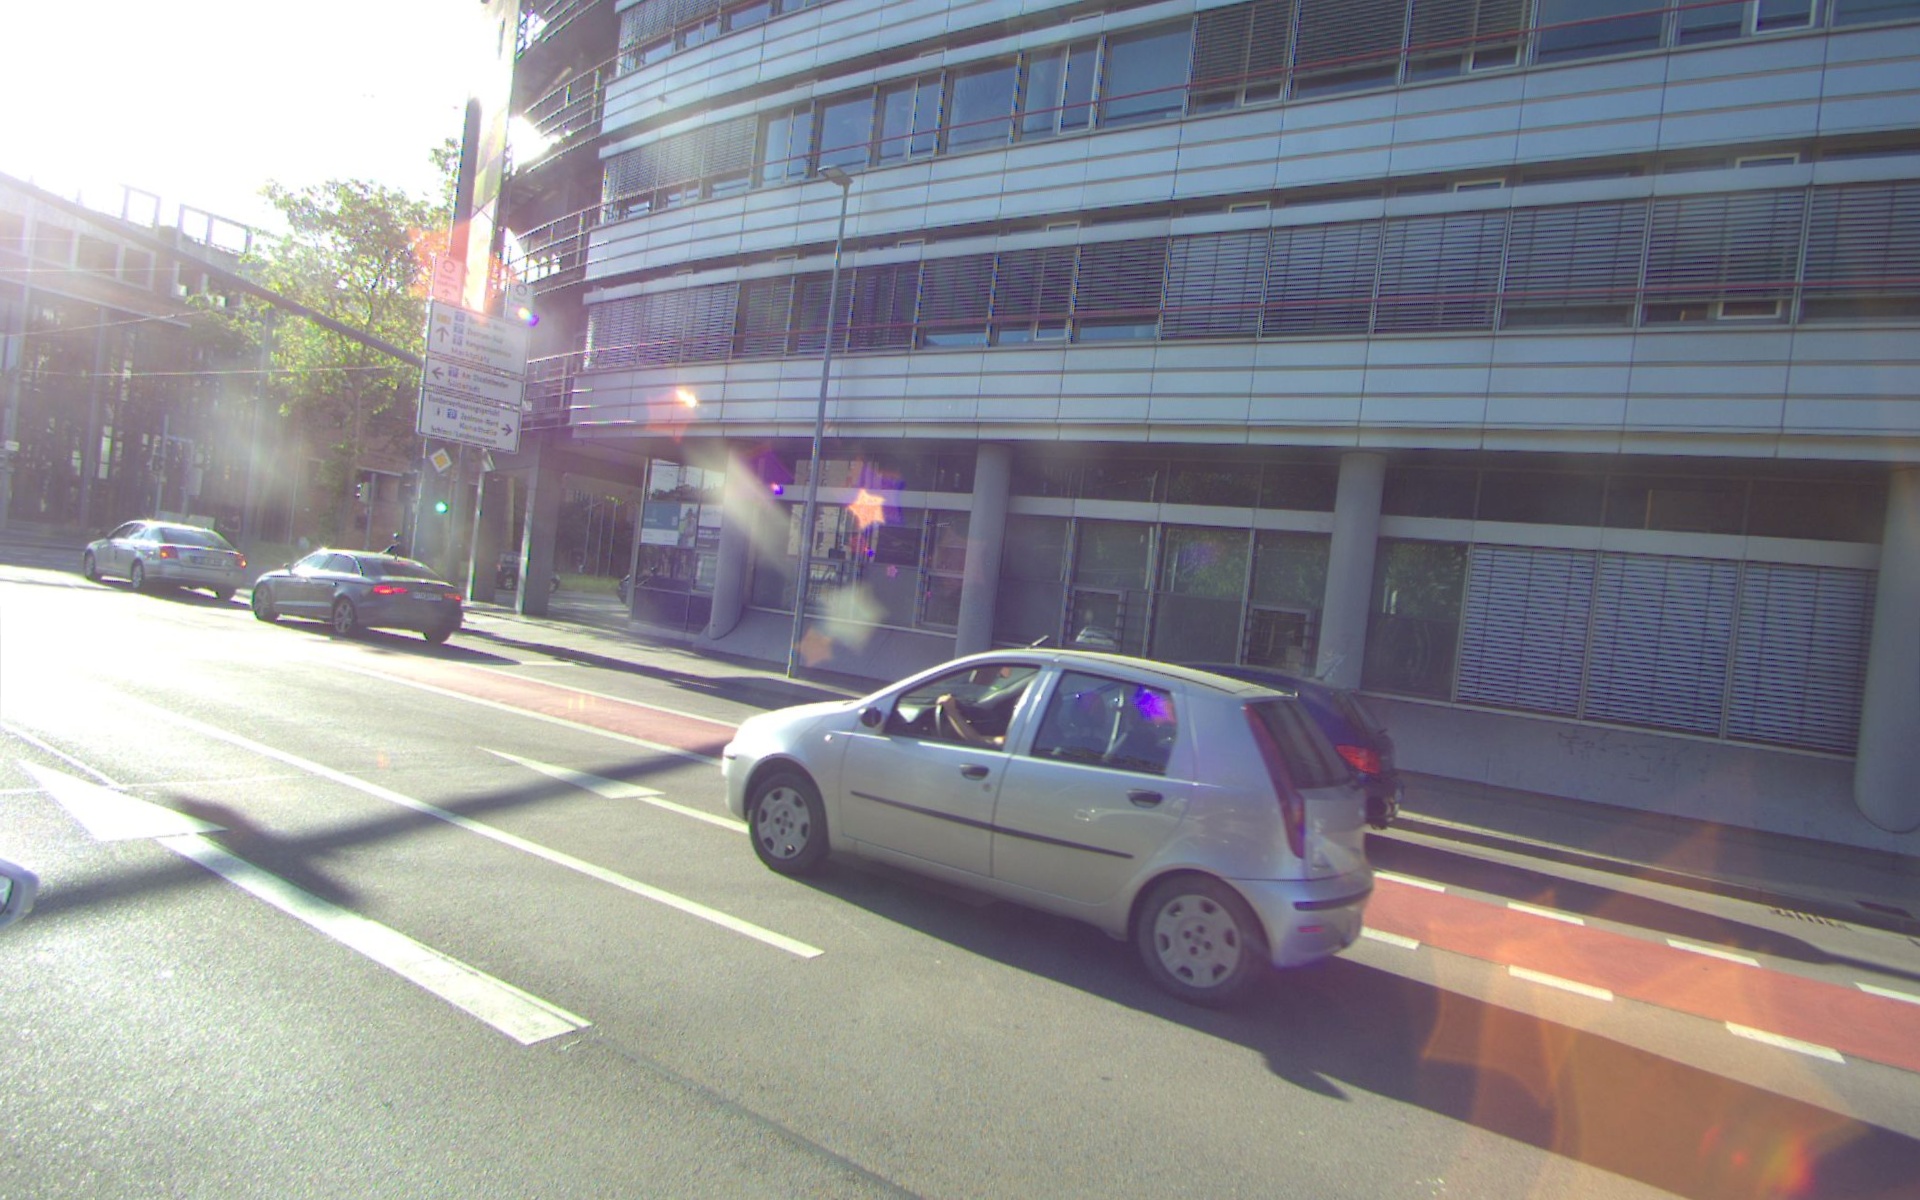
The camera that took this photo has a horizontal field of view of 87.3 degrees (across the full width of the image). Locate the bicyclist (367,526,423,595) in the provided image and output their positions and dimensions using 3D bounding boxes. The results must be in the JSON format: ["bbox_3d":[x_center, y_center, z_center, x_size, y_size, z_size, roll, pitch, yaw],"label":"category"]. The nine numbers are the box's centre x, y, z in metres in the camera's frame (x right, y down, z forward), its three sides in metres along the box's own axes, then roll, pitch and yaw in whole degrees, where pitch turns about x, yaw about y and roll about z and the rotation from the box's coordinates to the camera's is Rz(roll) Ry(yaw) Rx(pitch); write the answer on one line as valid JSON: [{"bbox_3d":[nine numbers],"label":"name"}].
[{"bbox_3d":[-14.113,-0.981,25.142,1.025,1.586,0.626,7,1,26],"label":"bicyclist"}]

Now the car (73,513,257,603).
[{"bbox_3d":[-17.425,-0.935,21.999,4.415,1.448,1.752,7,0,33],"label":"car"}]

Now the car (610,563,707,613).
[{"bbox_3d":[-13.434,-0.518,45.011,1.832,1.670,4.000,7,-2,24],"label":"car"}]

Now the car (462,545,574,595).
[{"bbox_3d":[-19.257,-1.254,44.037,1.662,1.648,4.462,7,-1,22],"label":"car"}]

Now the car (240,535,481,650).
[{"bbox_3d":[-10.427,-0.149,17.443,4.041,1.458,1.714,7,-1,30],"label":"car"}]

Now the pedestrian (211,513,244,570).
[{"bbox_3d":[-23.977,-1.903,32.930,0.701,1.781,0.556,6,1,-33],"label":"pedestrian"}]

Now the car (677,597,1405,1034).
[{"bbox_3d":[0.360,0.953,5.768,3.705,1.446,1.619,6,-2,32],"label":"car"}]

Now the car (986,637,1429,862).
[{"bbox_3d":[2.457,1.377,10.263,3.934,1.463,1.734,6,-1,32],"label":"car"}]
